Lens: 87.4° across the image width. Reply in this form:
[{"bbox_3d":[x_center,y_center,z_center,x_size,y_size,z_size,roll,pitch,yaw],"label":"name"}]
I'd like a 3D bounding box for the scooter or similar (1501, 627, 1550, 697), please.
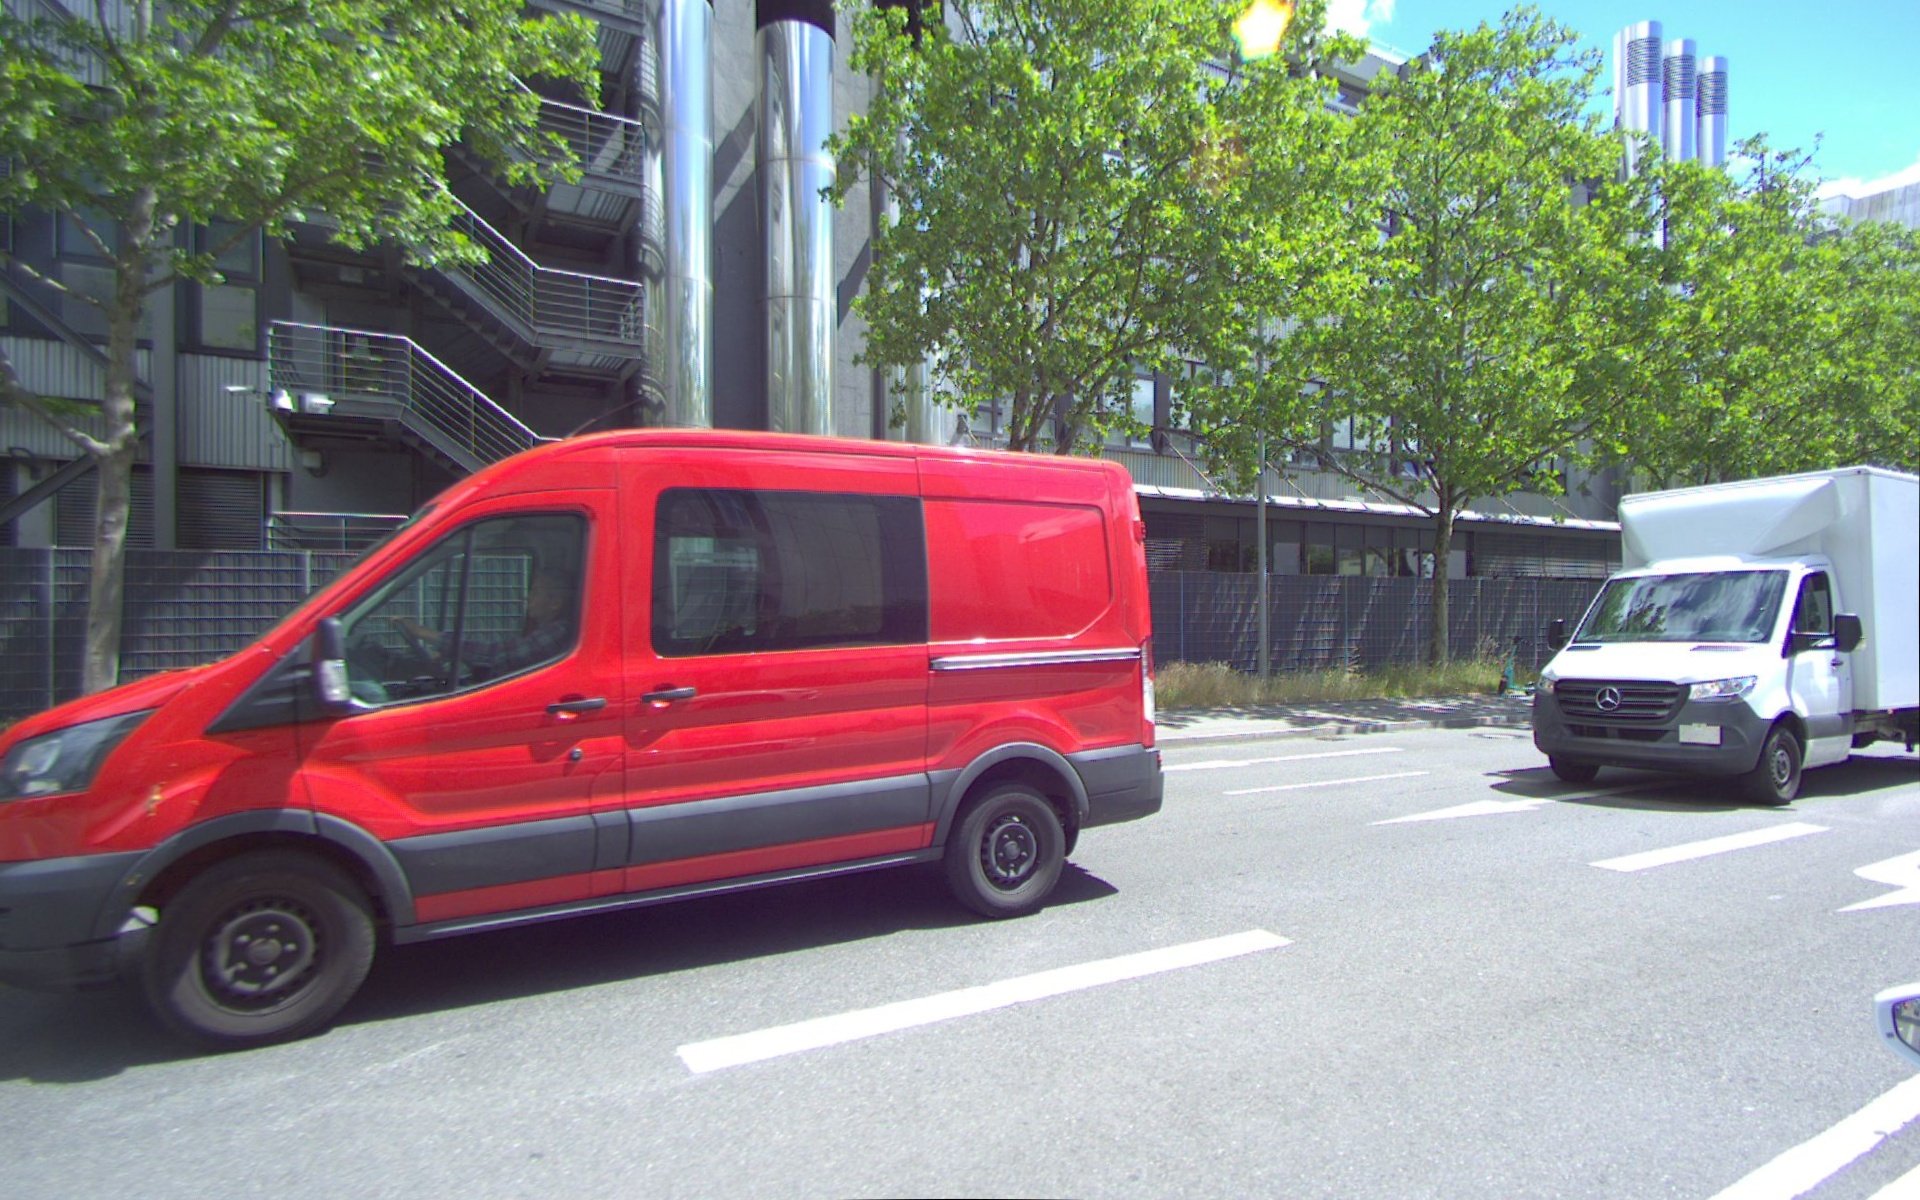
[{"bbox_3d":[11.877,1.299,21.081,1.221,1.422,0.302,2,0,-30],"label":"scooter or similar"}]

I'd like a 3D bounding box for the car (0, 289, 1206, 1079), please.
[{"bbox_3d":[-1.425,0.343,5.375,5.414,2.540,2.054,1,-2,-30],"label":"car"}]

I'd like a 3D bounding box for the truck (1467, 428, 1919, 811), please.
[{"bbox_3d":[9.046,0.266,11.069,7.150,3.170,2.444,1,-3,-27],"label":"truck"}]
